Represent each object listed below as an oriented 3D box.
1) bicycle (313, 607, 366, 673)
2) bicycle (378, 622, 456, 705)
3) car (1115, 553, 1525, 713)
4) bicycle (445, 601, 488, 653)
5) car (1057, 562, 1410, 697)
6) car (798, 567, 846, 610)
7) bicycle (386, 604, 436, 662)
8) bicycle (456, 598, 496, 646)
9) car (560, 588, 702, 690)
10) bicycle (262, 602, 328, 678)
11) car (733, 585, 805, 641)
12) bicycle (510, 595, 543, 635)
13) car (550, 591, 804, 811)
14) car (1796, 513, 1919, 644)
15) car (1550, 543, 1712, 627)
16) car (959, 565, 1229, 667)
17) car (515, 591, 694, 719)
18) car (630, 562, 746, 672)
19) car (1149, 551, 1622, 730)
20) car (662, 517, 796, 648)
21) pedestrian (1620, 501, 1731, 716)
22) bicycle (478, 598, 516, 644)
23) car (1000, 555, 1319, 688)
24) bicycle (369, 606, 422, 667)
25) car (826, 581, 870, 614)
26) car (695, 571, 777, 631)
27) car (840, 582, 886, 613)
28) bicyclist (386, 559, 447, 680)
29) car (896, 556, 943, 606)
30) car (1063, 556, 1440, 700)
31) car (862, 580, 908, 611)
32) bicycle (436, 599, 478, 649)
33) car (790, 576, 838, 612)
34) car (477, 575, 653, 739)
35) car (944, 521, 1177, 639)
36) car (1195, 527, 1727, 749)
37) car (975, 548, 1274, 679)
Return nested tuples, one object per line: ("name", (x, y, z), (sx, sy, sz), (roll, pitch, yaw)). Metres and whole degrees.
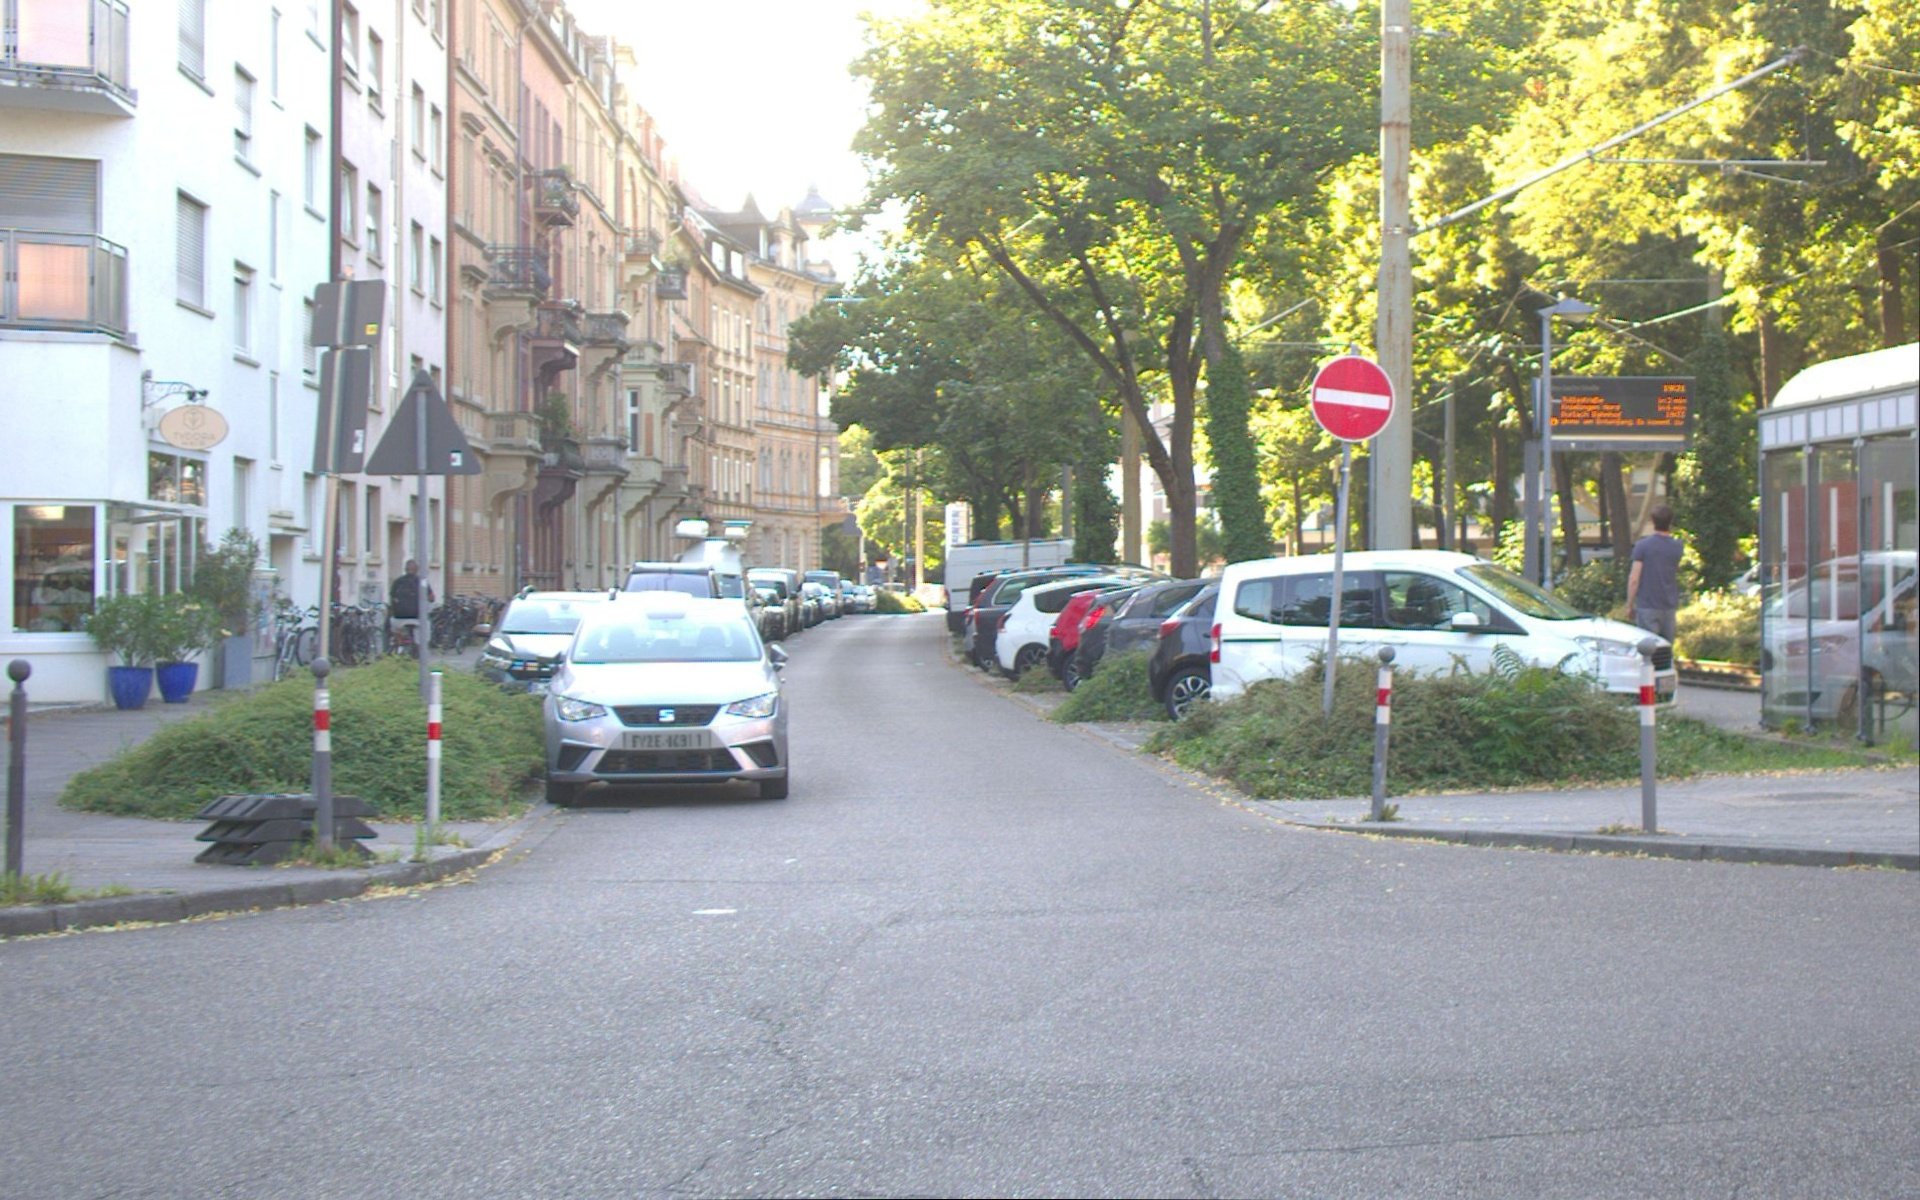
("bicycle", (-9.827, 0.629, 54.483), (0.531, 1.000, 2.176), (0, 1, -2))
("bicycle", (-7.330, 0.847, 46.462), (0.712, 1.047, 2.348), (0, 0, -1))
("car", (4.062, 0.373, 38.856), (4.232, 1.503, 1.606), (-4, 0, 23))
("bicycle", (-9.890, 0.532, 68.874), (0.626, 1.000, 2.176), (0, 1, -2))
("car", (3.571, 0.385, 44.971), (4.232, 1.454, 1.606), (-4, 0, 23))
("car", (-6.031, -0.507, 150.738), (1.711, 1.814, 4.000), (-1, 1, 3))
("bicycle", (-9.895, 0.585, 61.993), (0.626, 1.000, 2.176), (0, 1, -2))
("bicycle", (-10.452, 0.472, 74.245), (0.626, 1.000, 2.176), (0, 1, -2))
("car", (-5.073, 0.574, 53.398), (1.710, 1.441, 4.000), (-1, 1, 1))
("bicycle", (-9.254, 0.546, 47.901), (0.531, 1.000, 2.176), (0, 1, -1))
("car", (-5.265, 0.349, 95.201), (1.710, 1.441, 4.000), (-1, 1, 0))
("bicycle", (-10.962, 0.372, 87.020), (0.626, 1.000, 2.176), (0, 1, -2))
("car", (-2.148, 0.684, 25.627), (1.710, 1.441, 4.001), (-1, 1, -6))
("car", (19.016, -0.378, 67.832), (4.493, 2.468, 1.816), (3, -1, 30))
("car", (19.151, -0.436, 98.194), (4.086, 2.202, 1.816), (3, -1, 30))
("car", (2.324, 0.281, 59.877), (4.233, 1.468, 1.855), (-4, 0, 27))
("car", (-4.373, 0.653, 42.812), (1.710, 1.441, 4.000), (-1, 1, 1))
("car", (-5.006, 0.283, 63.766), (1.710, 1.926, 4.000), (-1, 1, 1))
("car", (4.156, 0.397, 33.590), (4.197, 1.432, 1.699), (-4, 0, 24))
("car", (-5.307, -0.427, 79.738), (2.552, 2.877, 5.481), (-1, 1, 1))
("pedestrian", (6.457, 0.070, 31.002), (0.849, 1.904, 0.837), (0, 0, 21))
("bicycle", (-10.425, 0.457, 77.455), (0.626, 1.000, 2.176), (0, 1, -2))
("car", (2.903, 0.324, 50.451), (4.235, 1.645, 1.854), (-4, 0, 35))
("bicycle", (-9.585, 0.611, 58.462), (0.626, 1.000, 2.176), (0, 1, -2))
("car", (-5.212, -0.137, 160.731), (1.711, 1.441, 4.000), (-1, 1, 3))
("car", (-5.639, 0.011, 86.922), (1.710, 1.441, 4.000), (-1, 1, 1))
("car", (-4.664, -0.123, 166.134), (1.711, 1.441, 3.999), (-1, 1, 5))
("bicyclist", (-7.335, 0.258, 46.428), (0.712, 1.611, 0.724), (0, 0, -1))
("car", (-2.105, -1.022, 181.294), (1.711, 2.553, 5.565), (-1, 1, 7))
("car", (3.575, 0.345, 42.236), (4.232, 1.454, 1.606), (-4, 0, 23))
("car", (-3.698, -0.219, 171.047), (1.711, 1.441, 3.999), (-1, 1, 7))
("bicycle", (-10.488, 0.494, 71.753), (0.626, 1.000, 2.176), (0, 1, -2))
("car", (-6.032, -0.257, 142.297), (1.710, 1.441, 4.000), (-1, 1, 1))
("car", (-4.334, 0.584, 38.207), (1.710, 1.667, 4.001), (-1, 1, -4))
("car", (2.524, -0.505, 86.549), (5.259, 2.563, 2.270), (-4, 0, 27))
("car", (4.379, 0.346, 30.243), (4.234, 1.647, 1.605), (-4, 0, 30))
("car", (2.557, 0.227, 53.776), (4.235, 1.743, 1.854), (-4, 0, 35))
